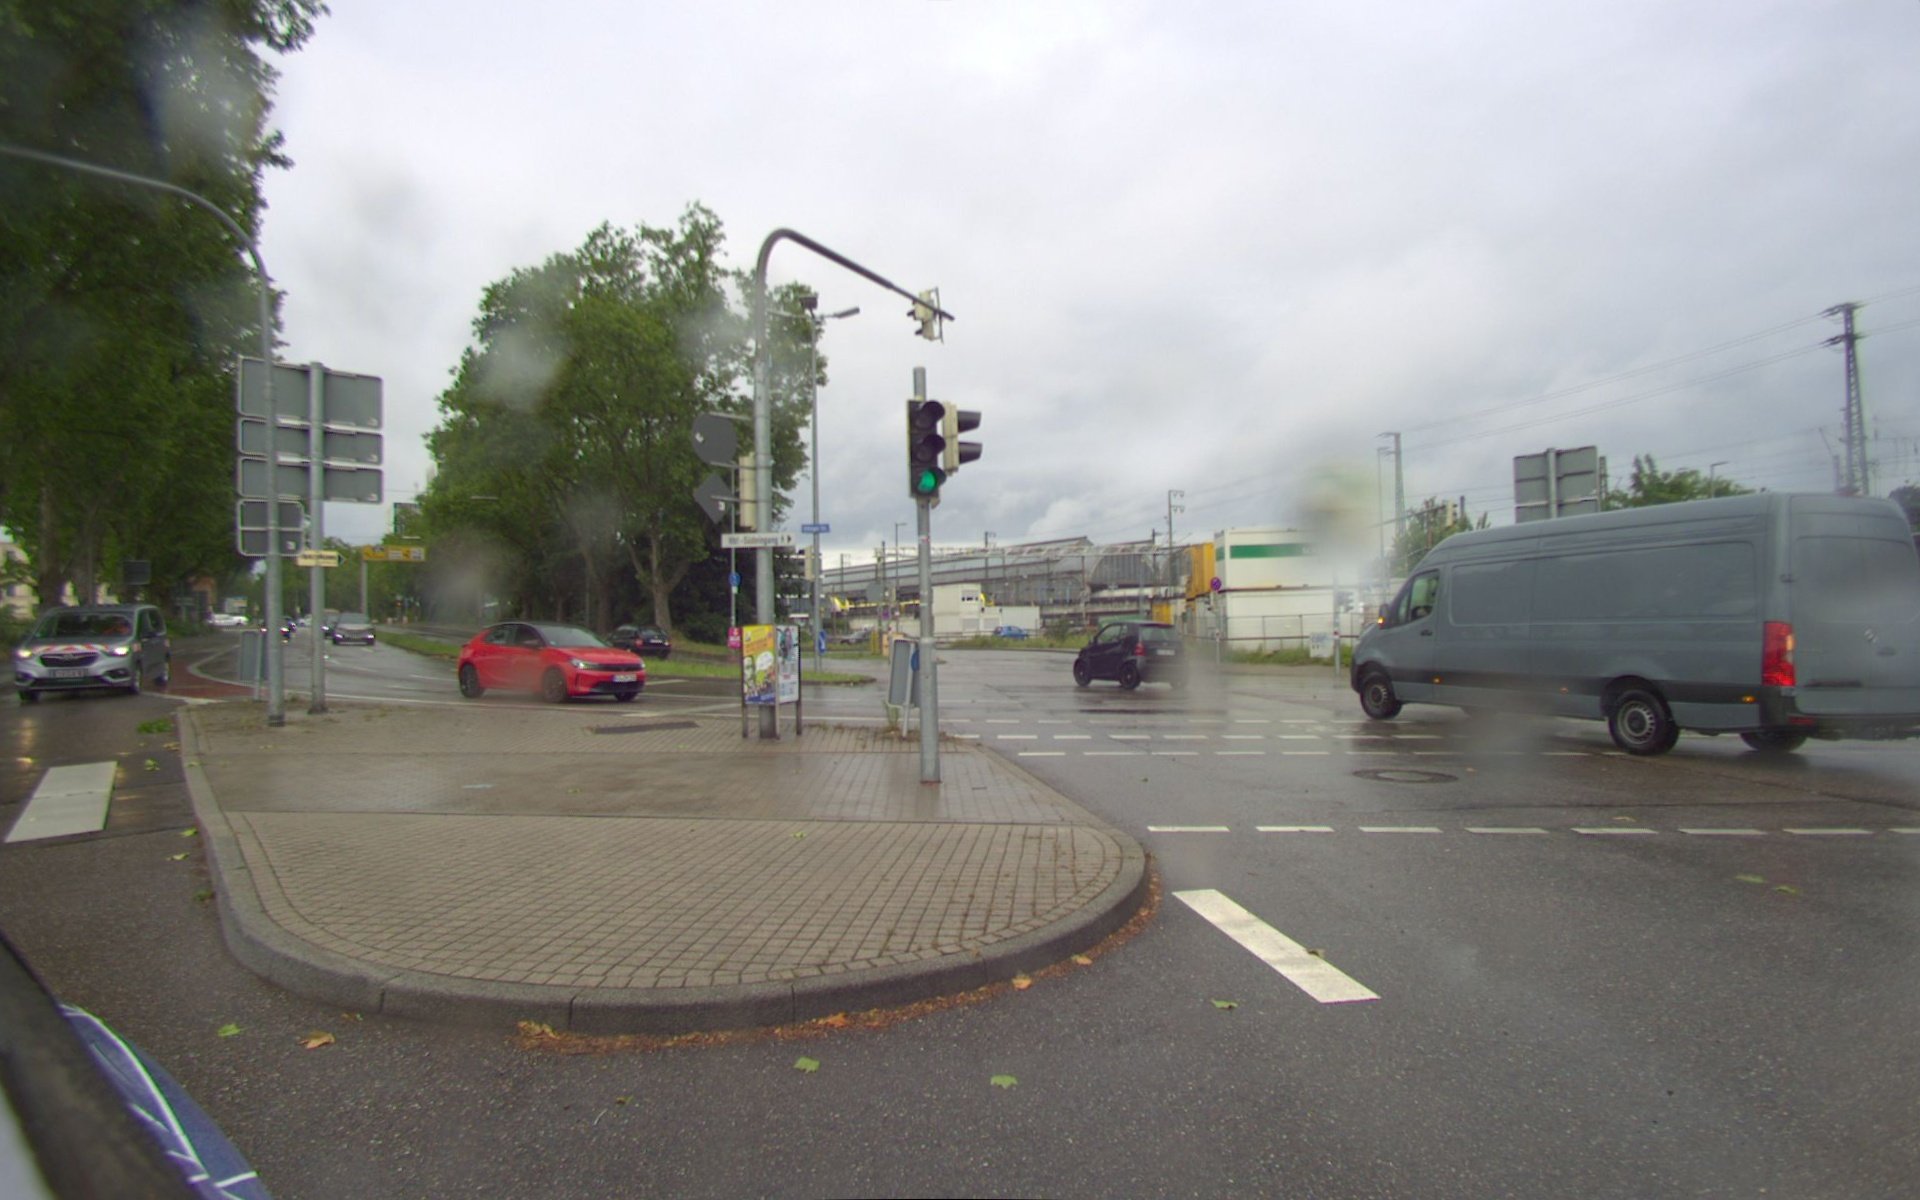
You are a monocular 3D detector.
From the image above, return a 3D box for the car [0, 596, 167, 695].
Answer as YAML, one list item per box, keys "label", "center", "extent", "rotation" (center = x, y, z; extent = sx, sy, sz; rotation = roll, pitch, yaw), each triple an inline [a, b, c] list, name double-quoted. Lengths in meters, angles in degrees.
- label: "car"
  center: [-17.335, 0.849, 20.186]
  extent: [1.808, 1.737, 4.185]
  rotation: [0, -1, -30]

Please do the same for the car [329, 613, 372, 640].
- label: "car"
  center: [-32.311, 1.416, 53.612]
  extent: [1.716, 1.392, 4.010]
  rotation: [1, -2, -35]

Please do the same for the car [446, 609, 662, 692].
- label: "car"
  center: [-7.587, 0.912, 18.818]
  extent: [3.987, 1.392, 1.726]
  rotation: [-1, -2, 32]

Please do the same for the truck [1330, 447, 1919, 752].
- label: "truck"
  center: [7.476, 0.054, 12.367]
  extent: [2.057, 2.639, 6.994]
  rotation: [0, -1, -12]

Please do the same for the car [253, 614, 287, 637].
- label: "car"
  center: [-44.634, 1.663, 65.555]
  extent: [1.715, 1.457, 4.011]
  rotation: [1, -2, -33]

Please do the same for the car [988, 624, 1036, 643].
- label: "car"
  center: [4.685, 2.970, 90.462]
  extent: [3.932, 1.621, 1.792]
  rotation: [0, -1, -32]

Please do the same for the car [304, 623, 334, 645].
- label: "car"
  center: [-42.037, 2.192, 66.390]
  extent: [1.617, 1.364, 3.785]
  rotation: [0, -1, -33]

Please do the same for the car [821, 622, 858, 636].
- label: "car"
  center: [-14.181, 3.406, 118.781]
  extent: [3.933, 1.621, 1.791]
  rotation: [0, -1, -34]

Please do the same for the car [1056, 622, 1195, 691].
- label: "car"
  center: [3.769, 1.334, 23.649]
  extent: [1.621, 1.463, 3.542]
  rotation: [0, -4, -20]

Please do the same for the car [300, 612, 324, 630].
- label: "car"
  center: [-58.899, 1.910, 91.956]
  extent: [1.823, 1.614, 4.512]
  rotation: [1, -2, -33]

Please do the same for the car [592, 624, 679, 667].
- label: "car"
  center: [-13.275, 1.825, 41.295]
  extent: [1.969, 1.654, 4.006]
  rotation: [0, -1, -41]
